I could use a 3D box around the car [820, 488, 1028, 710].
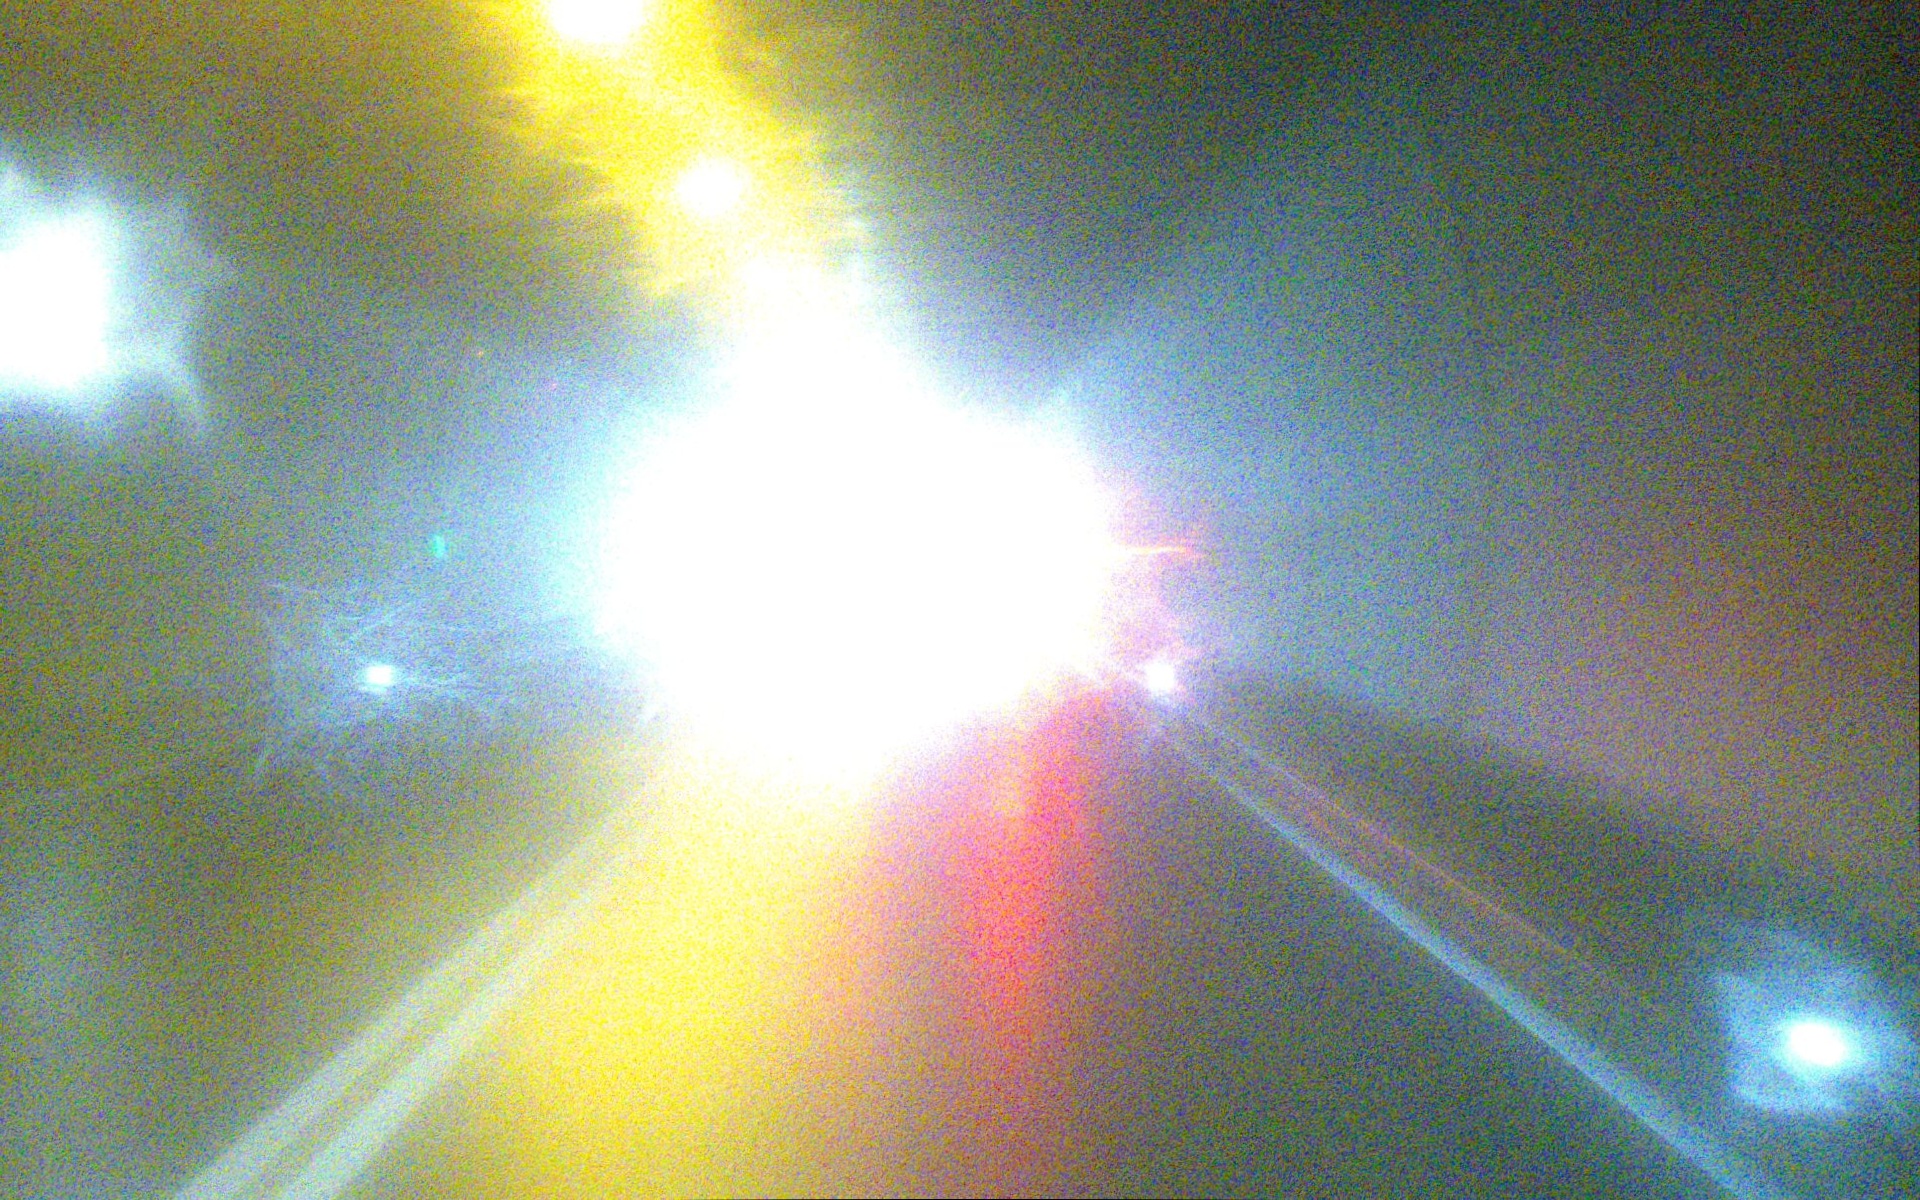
[{"bbox_3d":[-0.285,-0.067,29.482,1.635,1.752,4.146,-1,2,0],"label":"car"}]

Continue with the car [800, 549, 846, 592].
[{"bbox_3d":[-5.457,-1.183,136.903,1.635,1.597,4.146,-1,2,0],"label":"car"}]
